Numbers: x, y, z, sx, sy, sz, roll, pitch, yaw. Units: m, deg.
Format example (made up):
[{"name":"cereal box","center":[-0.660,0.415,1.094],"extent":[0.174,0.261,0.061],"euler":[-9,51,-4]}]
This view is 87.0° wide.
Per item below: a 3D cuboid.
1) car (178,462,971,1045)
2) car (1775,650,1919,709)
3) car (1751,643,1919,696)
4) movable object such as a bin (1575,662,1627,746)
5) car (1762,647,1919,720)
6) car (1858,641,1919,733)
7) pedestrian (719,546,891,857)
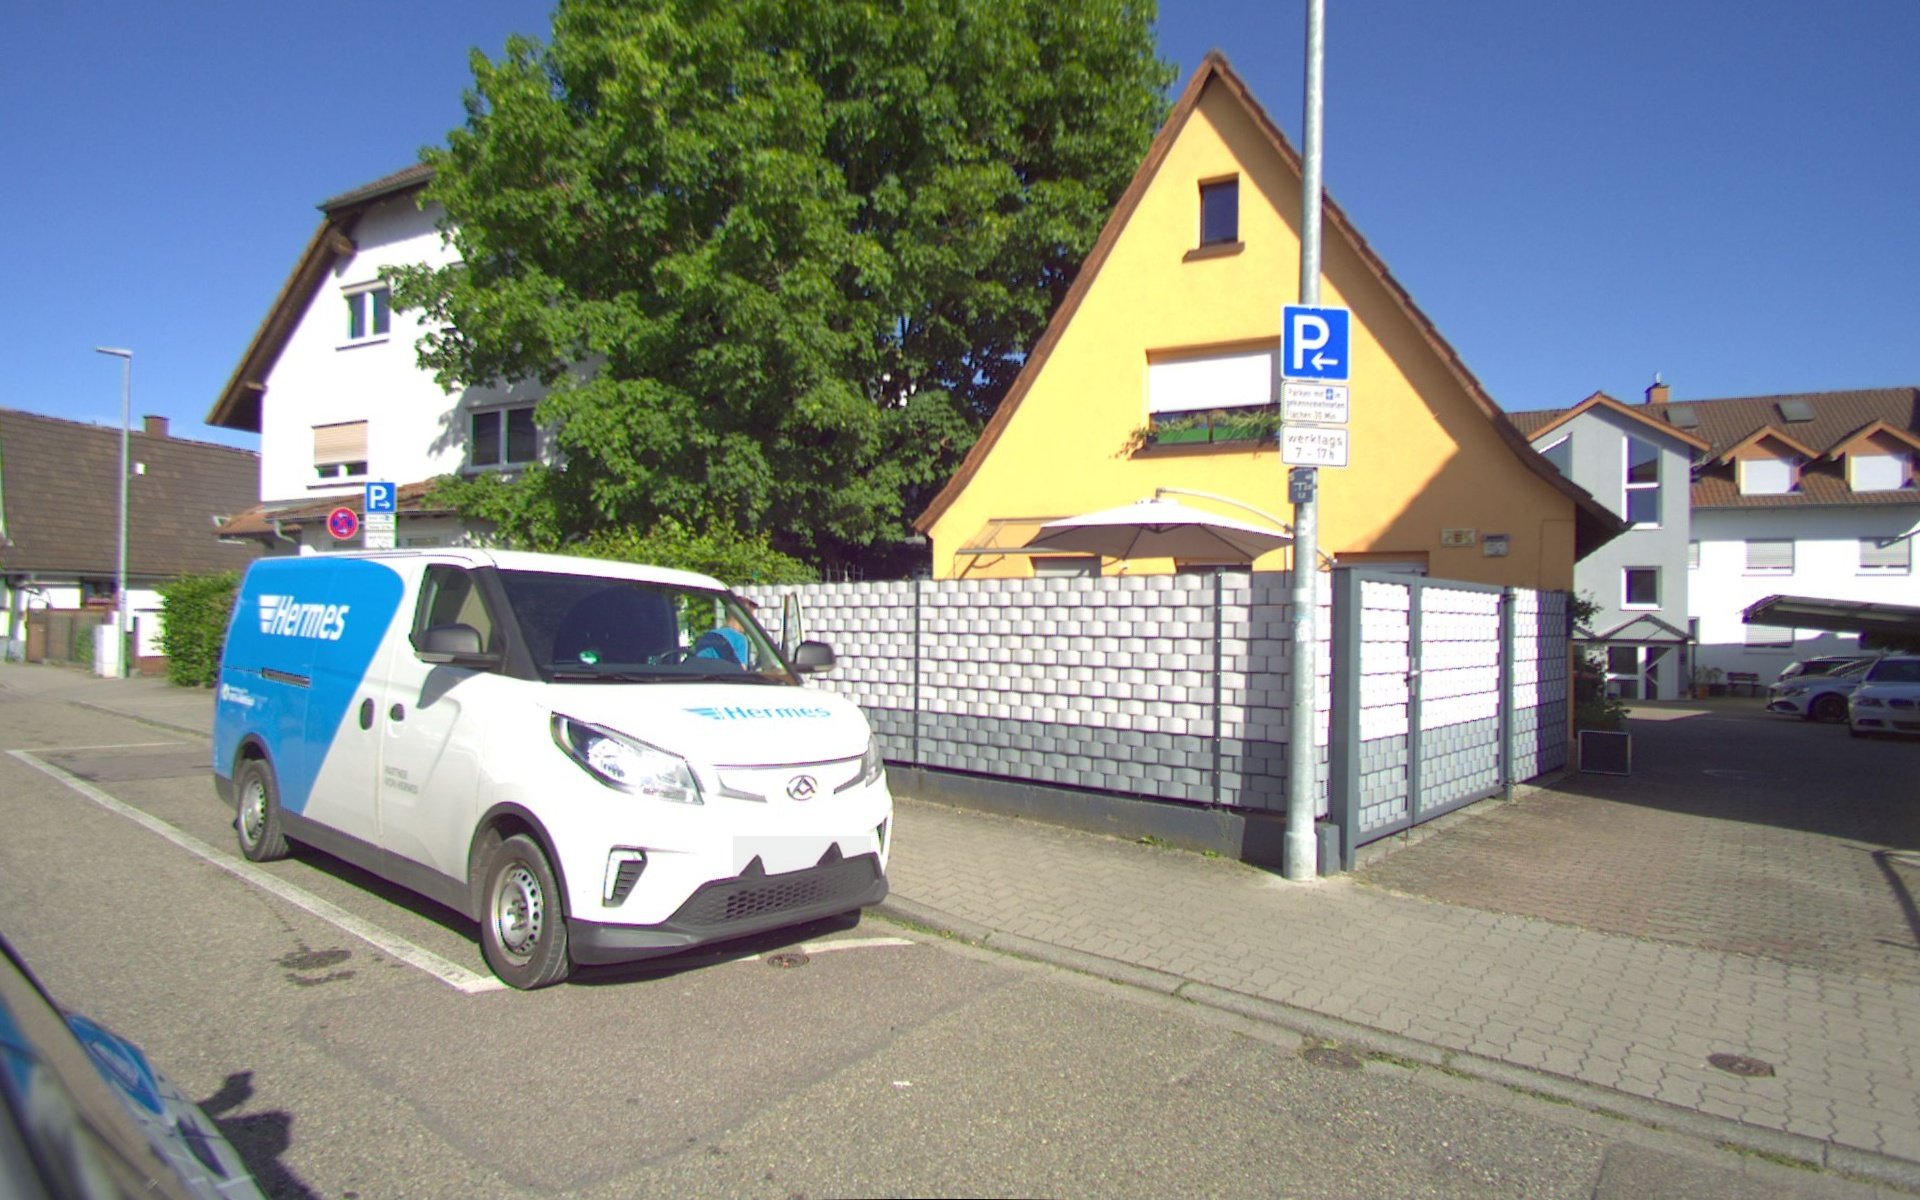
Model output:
[{"name":"car","center":[-2.507,0.555,5.715],"extent":[5.065,1.932,1.883],"euler":[0,-3,39]},{"name":"car","center":[24.098,2.067,26.297],"extent":[4.438,1.420,1.778],"euler":[-1,-3,37]},{"name":"car","center":[26.026,2.013,29.619],"extent":[4.438,1.420,1.778],"euler":[-1,-3,37]},{"name":"movable object such as a bin","center":[7.931,1.275,12.535],"extent":[0.499,0.985,0.370],"euler":[0,-2,27]},{"name":"car","center":[19.545,1.733,21.022],"extent":[4.438,1.420,1.778],"euler":[-1,-3,37]},{"name":"car","center":[16.372,1.424,16.838],"extent":[3.939,1.409,1.798],"euler":[3,-3,-43]},{"name":"pedestrian","center":[-0.953,0.579,6.287],"extent":[0.618,1.762,0.872],"euler":[-1,-1,39]}]
